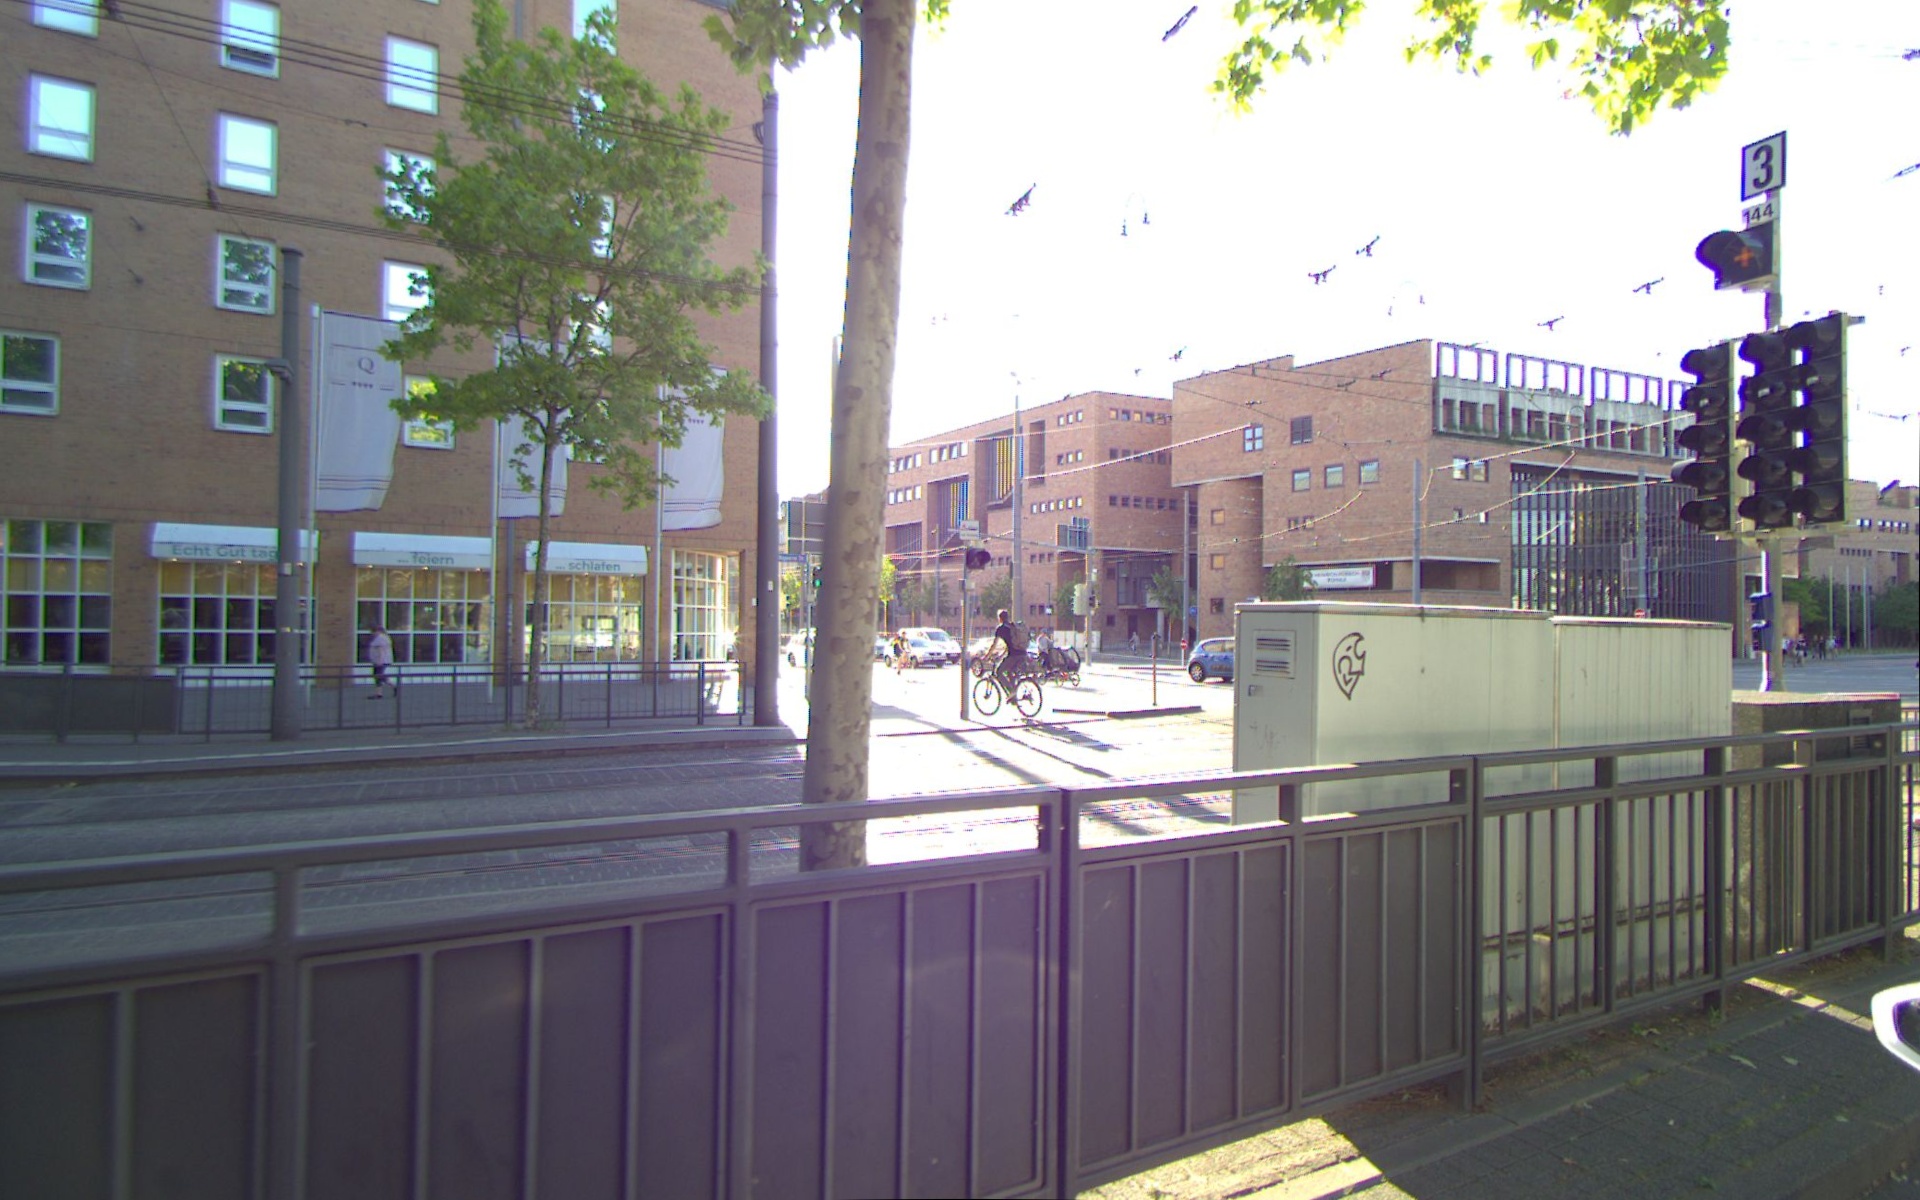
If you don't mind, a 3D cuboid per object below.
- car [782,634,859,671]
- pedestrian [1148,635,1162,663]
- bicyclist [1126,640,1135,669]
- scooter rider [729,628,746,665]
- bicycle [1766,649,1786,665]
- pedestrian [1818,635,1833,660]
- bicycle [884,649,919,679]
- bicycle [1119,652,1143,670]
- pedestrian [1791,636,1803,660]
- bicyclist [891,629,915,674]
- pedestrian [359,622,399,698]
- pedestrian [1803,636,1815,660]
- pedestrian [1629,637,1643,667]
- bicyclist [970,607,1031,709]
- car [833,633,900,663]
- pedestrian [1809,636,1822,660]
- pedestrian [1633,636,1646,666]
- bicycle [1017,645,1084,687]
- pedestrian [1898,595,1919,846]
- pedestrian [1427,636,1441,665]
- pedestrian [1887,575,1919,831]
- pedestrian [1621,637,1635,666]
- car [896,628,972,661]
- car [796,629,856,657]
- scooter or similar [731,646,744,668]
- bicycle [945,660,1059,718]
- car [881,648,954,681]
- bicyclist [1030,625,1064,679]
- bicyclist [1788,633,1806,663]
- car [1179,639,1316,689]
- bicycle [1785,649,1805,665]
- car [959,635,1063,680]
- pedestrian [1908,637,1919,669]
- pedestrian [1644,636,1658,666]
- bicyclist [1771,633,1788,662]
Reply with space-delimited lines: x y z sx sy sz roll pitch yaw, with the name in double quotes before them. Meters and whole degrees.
"car" -7.123 2.632 50.935 1.980 1.750 4.804 1 -2 -34
"pedestrian" 11.836 2.954 60.889 0.608 1.635 0.540 0 1 -35
"bicyclist" 12.271 3.909 72.298 0.447 2.087 0.557 1 -2 -34
"scooter rider" -11.543 2.410 52.053 0.727 1.921 0.661 1 -2 -27
"bicycle" 47.441 3.334 58.422 1.823 0.893 0.509 2 -2 -38
"pedestrian" 65.612 3.594 76.122 0.538 1.834 0.640 1 -2 -23
"bicycle" -2.267 2.460 38.848 0.621 1.078 1.916 1 -1 -27
"bicycle" 12.292 4.404 72.249 0.448 1.255 2.077 1 -3 -34
"pedestrian" 63.985 3.702 76.808 0.538 1.834 0.489 1 -2 -23
"bicyclist" -2.195 1.977 38.729 0.631 1.685 0.901 1 -1 -27
"pedestrian" -12.723 1.310 22.011 0.717 1.605 0.586 1 1 -31
"pedestrian" 65.197 3.657 77.135 0.538 1.834 0.489 1 -2 -23
"pedestrian" 38.891 2.987 57.785 0.530 1.672 0.622 -2 -2 41
"bicyclist" 0.733 1.042 18.285 0.840 1.808 0.749 -2 -2 42
"car" -5.493 2.774 58.808 1.981 1.719 4.316 2 -3 -36
"pedestrian" 64.302 3.633 75.477 0.538 1.803 0.521 1 -2 -23
"pedestrian" 39.419 2.954 58.298 0.530 1.672 0.622 -1 -2 41
"bicycle" 2.864 2.077 32.074 1.060 1.243 2.146 0 -1 -31
"pedestrian" 7.067 0.827 6.703 0.751 1.704 1.065 2 -1 -37
"pedestrian" 27.634 2.943 58.600 0.560 1.634 0.545 0 -2 1
"pedestrian" 7.618 0.769 7.388 0.732 1.896 1.065 2 -1 -37
"pedestrian" 37.681 2.902 56.673 0.530 1.672 0.622 -2 -2 41
"car" -1.449 2.363 53.978 1.981 1.719 4.316 2 -3 -36
"car" -8.548 2.700 63.729 1.981 1.719 4.316 2 -3 -36
"scooter or similar" -11.529 2.924 52.011 0.397 1.119 1.202 1 -2 -27
"bicycle" 0.732 1.593 18.282 2.153 0.946 0.664 -1 -2 42
"car" -2.101 3.117 48.982 1.807 1.453 3.884 1 -2 -35
"bicyclist" 2.797 1.667 32.218 0.683 1.703 0.899 1 -2 -31
"bicyclist" 48.197 2.776 57.818 0.782 1.697 0.589 1 -2 -36
"car" 9.182 2.003 32.319 1.979 1.475 3.931 1 -2 -33
"bicycle" 48.094 3.295 57.867 1.823 0.893 0.509 2 -2 -38
"car" 1.888 2.164 38.698 1.805 1.604 4.457 1 -2 -32
"pedestrian" 48.139 2.658 50.389 0.503 1.550 0.749 1 -1 -37
"pedestrian" 38.931 2.881 56.580 0.531 1.672 0.622 -1 -2 42
"bicyclist" 47.612 2.767 58.353 0.782 1.697 0.589 1 -2 -36
